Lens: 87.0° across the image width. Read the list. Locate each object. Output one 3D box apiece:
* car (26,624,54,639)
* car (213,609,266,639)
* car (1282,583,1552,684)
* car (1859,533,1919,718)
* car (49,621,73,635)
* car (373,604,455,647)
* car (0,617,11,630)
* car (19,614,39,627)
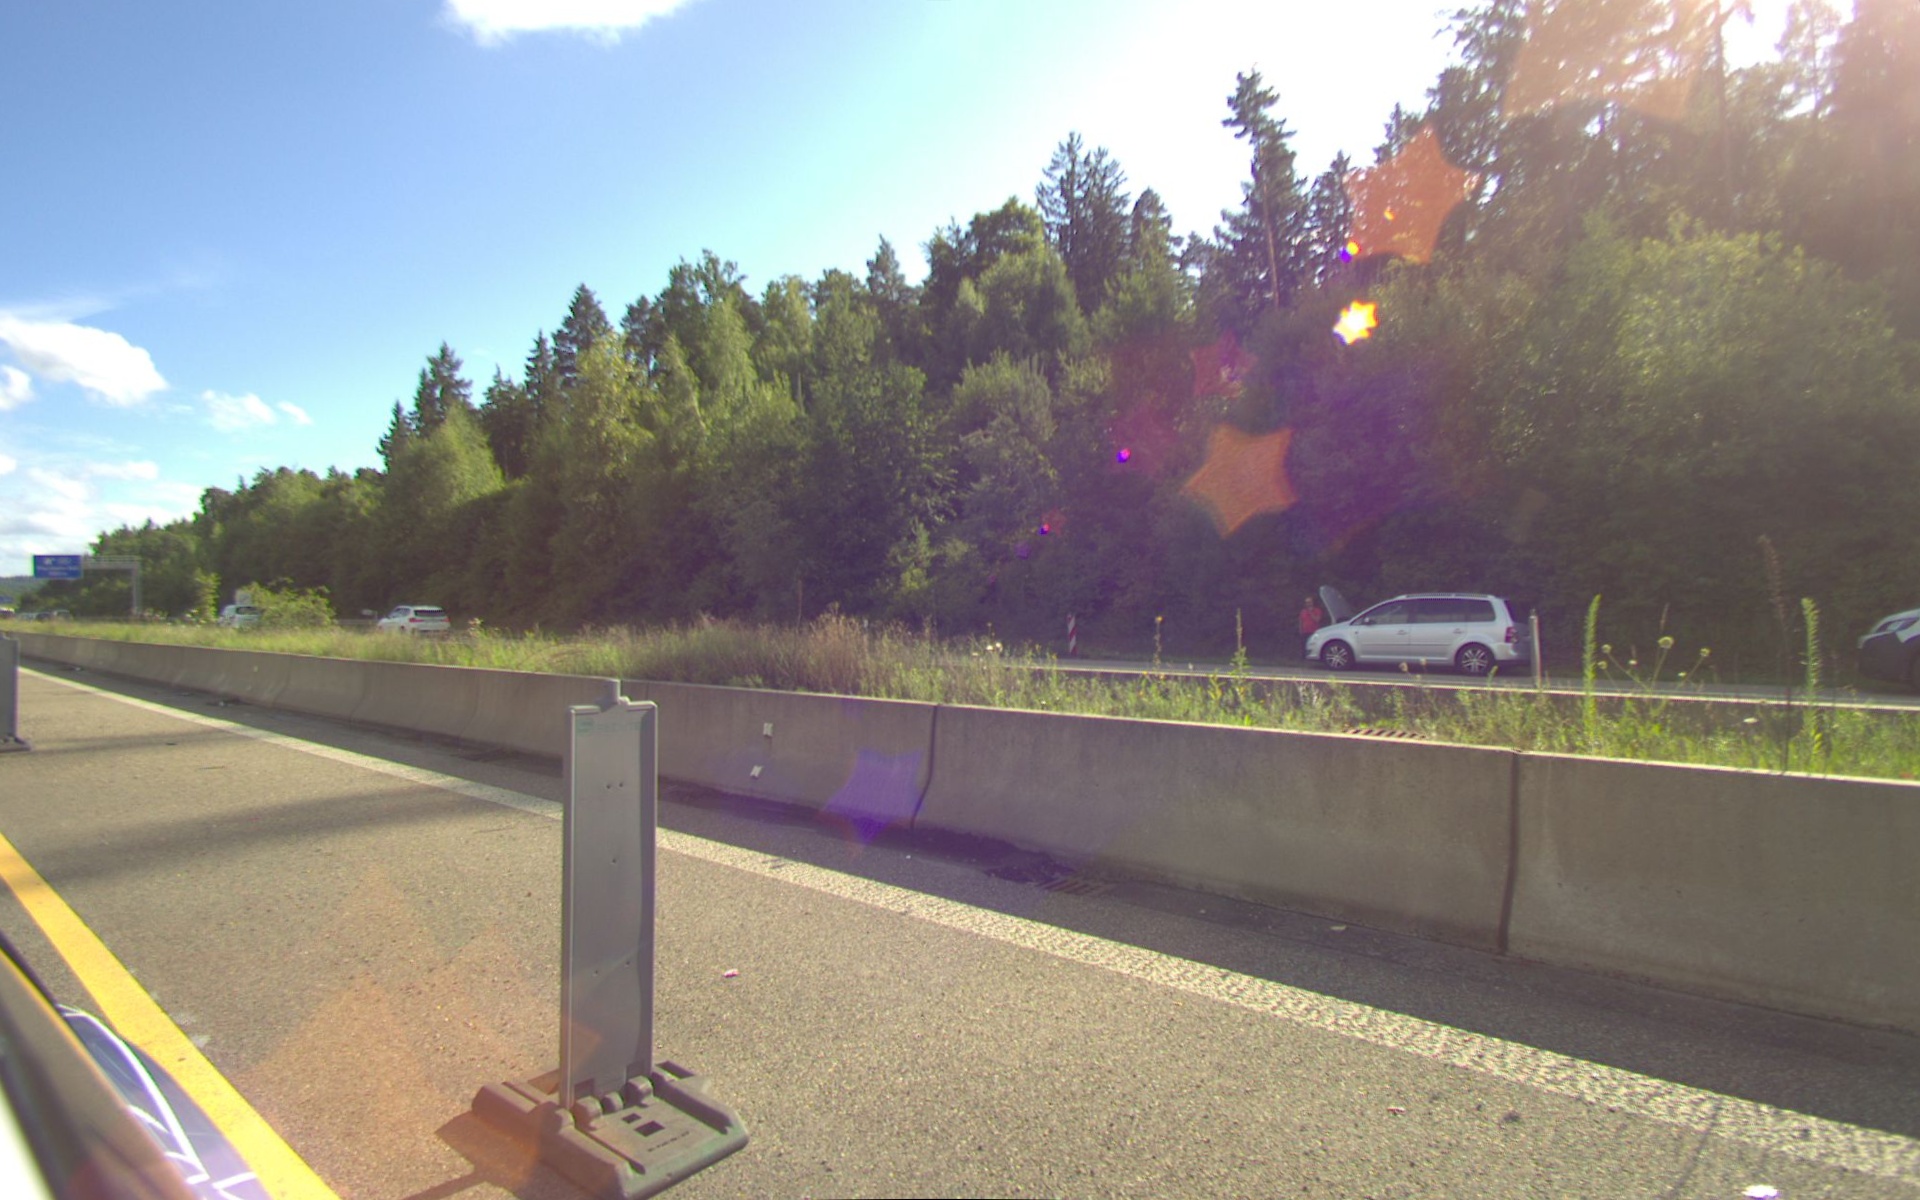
[{"bbox_3d":[-96.988,3.292,106.645,4.102,1.467,1.759,-1,0,41],"label":"car"},{"bbox_3d":[-45.626,1.497,64.052,4.363,1.799,1.759,-1,0,41],"label":"car"},{"bbox_3d":[9.335,0.630,20.935,4.759,1.867,1.841,-1,0,41],"label":"car"},{"bbox_3d":[16.644,0.348,13.777,6.519,2.705,2.007,-1,0,41],"label":"car"},{"bbox_3d":[-115.156,3.609,129.647,4.615,1.701,1.759,-1,0,41],"label":"car"},{"bbox_3d":[-23.935,1.082,44.276,4.363,1.799,1.759,-1,0,41],"label":"car"},{"bbox_3d":[-137.693,3.366,145.280,4.615,1.917,1.759,-1,0,41],"label":"car"},{"bbox_3d":[-146.652,3.204,159.374,4.615,1.917,1.759,-1,0,41],"label":"car"}]
